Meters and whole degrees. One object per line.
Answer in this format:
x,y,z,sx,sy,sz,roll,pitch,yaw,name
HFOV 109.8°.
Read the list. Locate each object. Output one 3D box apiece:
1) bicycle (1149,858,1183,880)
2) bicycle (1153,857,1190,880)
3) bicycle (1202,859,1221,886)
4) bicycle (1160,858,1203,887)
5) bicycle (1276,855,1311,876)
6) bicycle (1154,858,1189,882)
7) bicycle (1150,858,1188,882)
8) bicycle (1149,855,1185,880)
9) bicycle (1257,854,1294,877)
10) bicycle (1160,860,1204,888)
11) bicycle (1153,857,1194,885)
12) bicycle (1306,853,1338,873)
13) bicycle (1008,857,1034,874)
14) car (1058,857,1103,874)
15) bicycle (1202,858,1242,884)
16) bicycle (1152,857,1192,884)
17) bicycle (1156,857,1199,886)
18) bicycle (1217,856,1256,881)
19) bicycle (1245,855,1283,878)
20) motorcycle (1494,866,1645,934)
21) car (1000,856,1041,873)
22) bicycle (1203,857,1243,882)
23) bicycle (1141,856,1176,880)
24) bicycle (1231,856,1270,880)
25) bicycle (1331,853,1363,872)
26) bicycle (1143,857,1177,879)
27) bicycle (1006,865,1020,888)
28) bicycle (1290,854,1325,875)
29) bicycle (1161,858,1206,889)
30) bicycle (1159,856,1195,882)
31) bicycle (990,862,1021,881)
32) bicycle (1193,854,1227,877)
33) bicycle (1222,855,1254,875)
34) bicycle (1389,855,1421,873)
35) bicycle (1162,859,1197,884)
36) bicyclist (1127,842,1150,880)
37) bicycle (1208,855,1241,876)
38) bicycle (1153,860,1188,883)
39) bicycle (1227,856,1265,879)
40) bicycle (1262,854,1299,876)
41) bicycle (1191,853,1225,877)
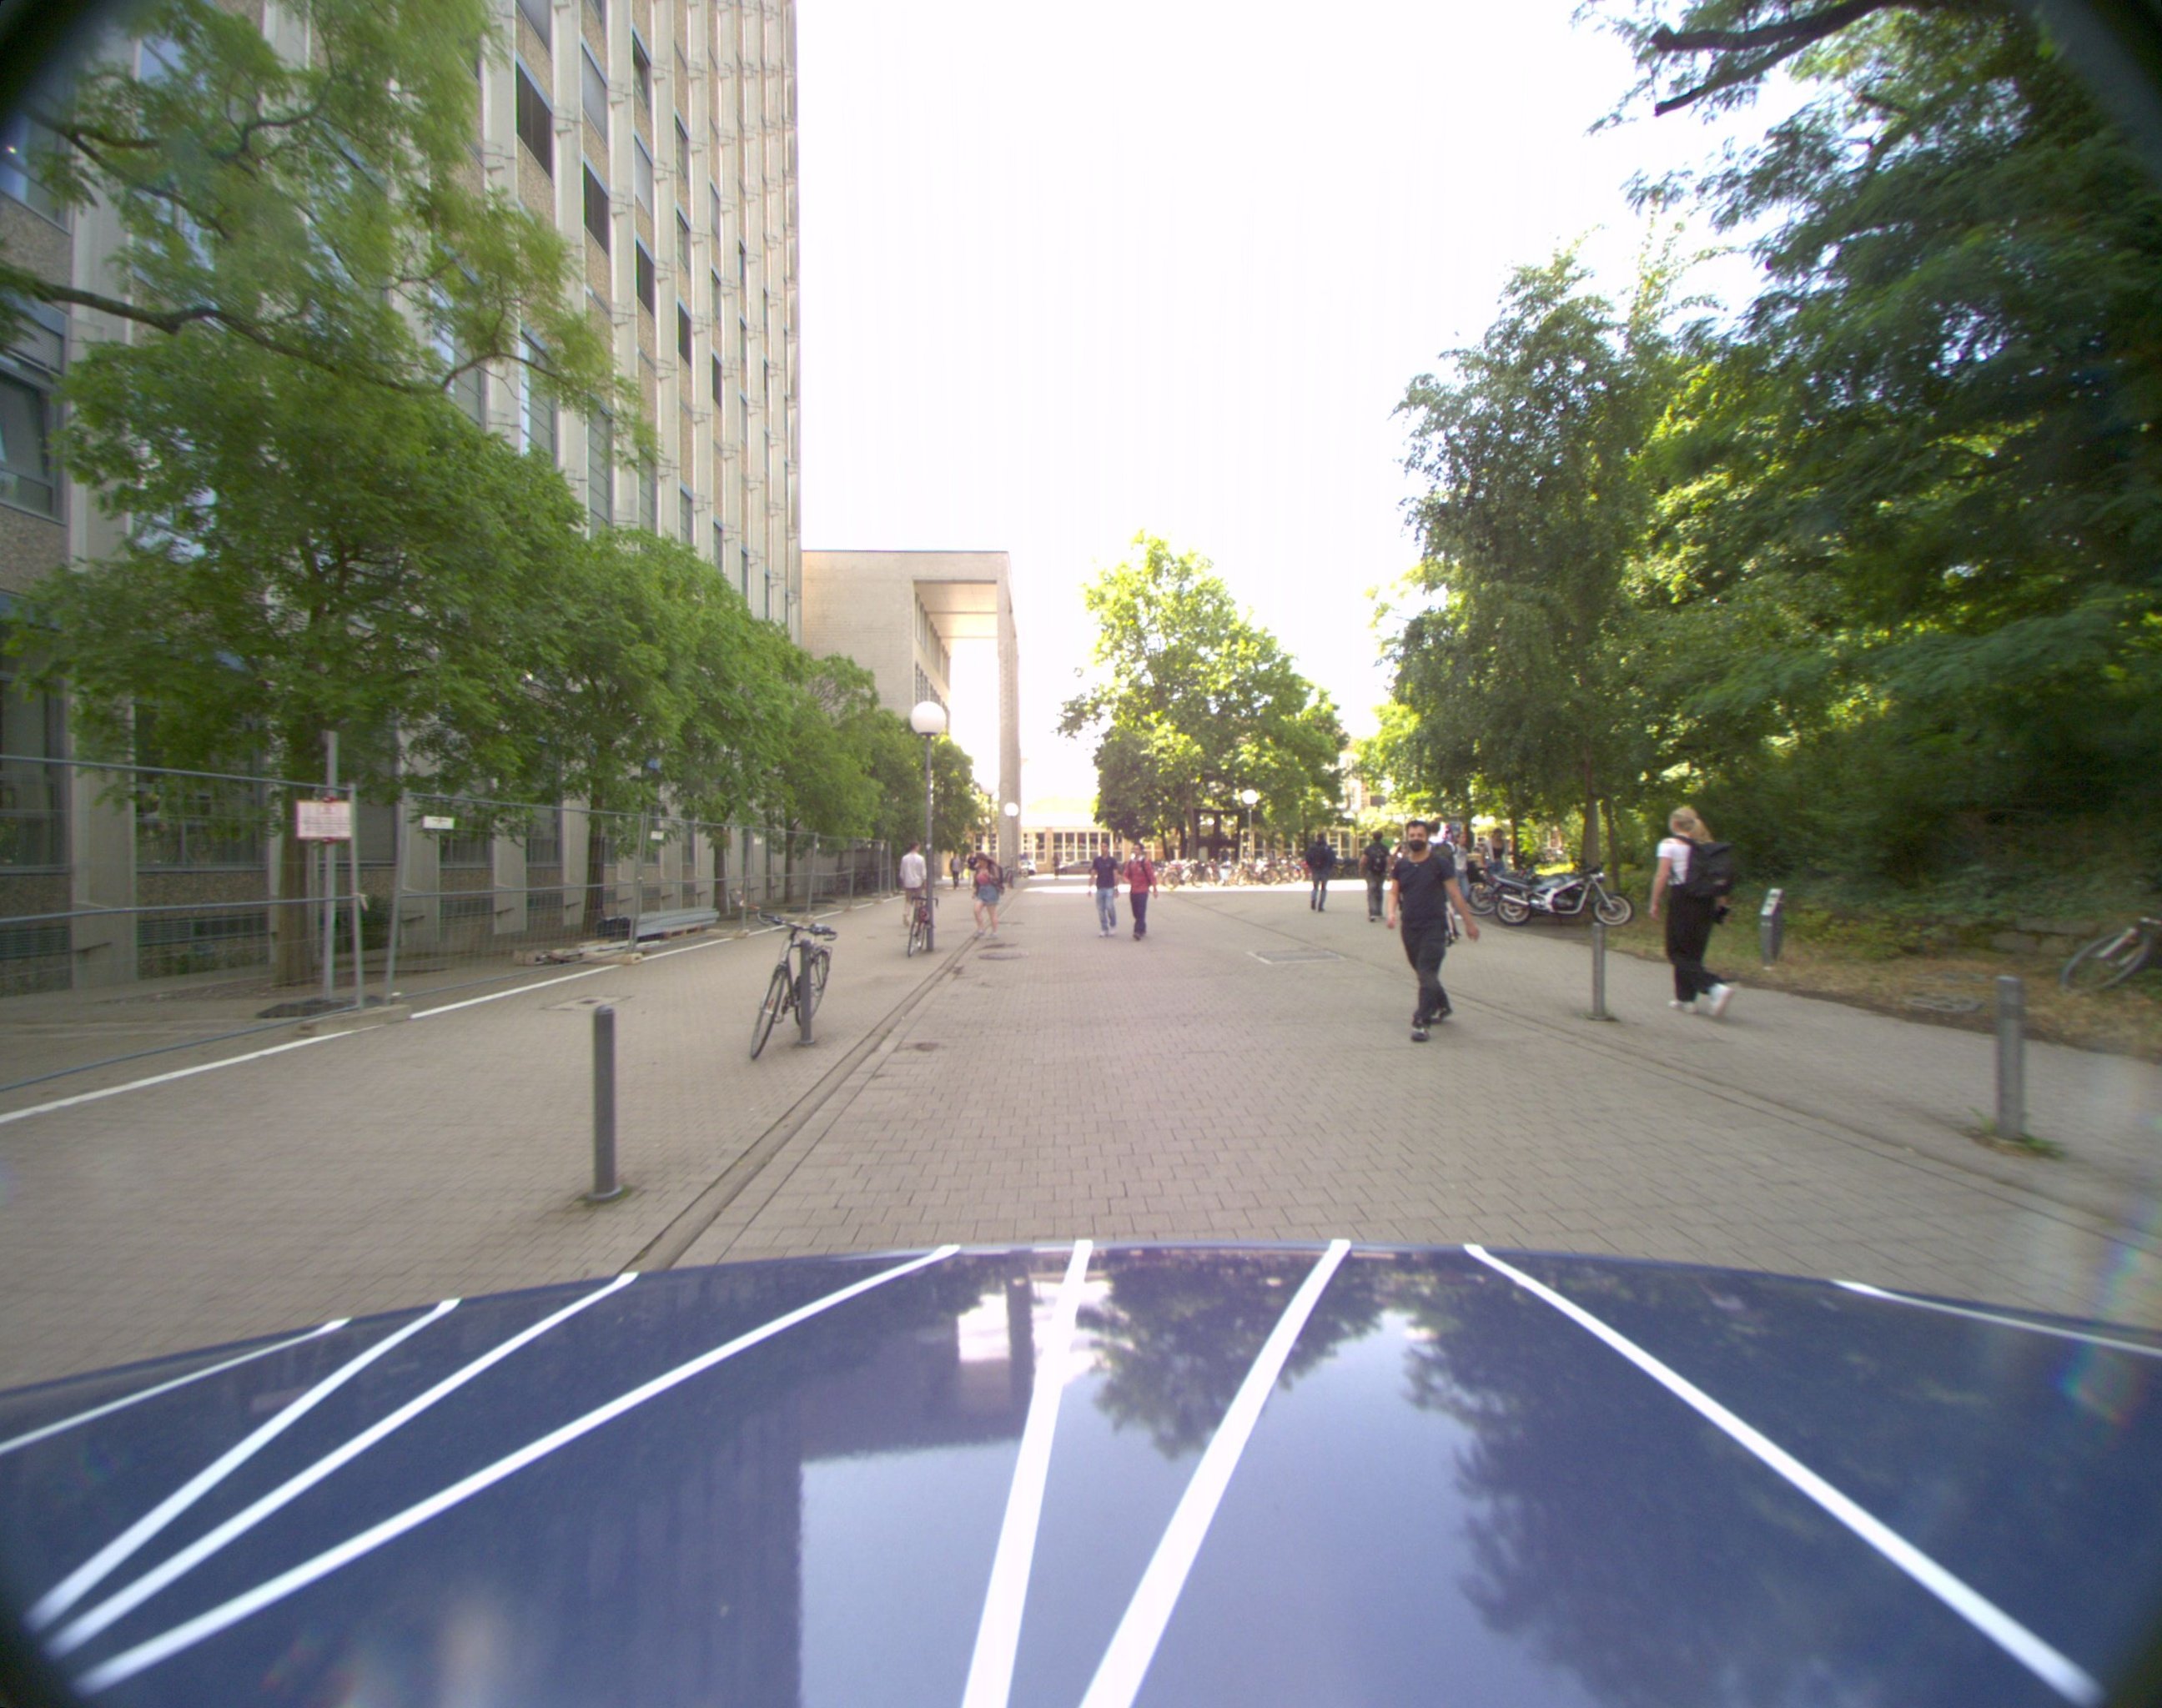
4.434,0.765,39.765,1.700,1.101,0.473,-2,1,-13,bicycle
4.565,0.739,38.338,1.700,1.101,0.565,-2,1,-13,bicycle
5.453,0.766,31.855,0.508,1.077,1.699,-2,1,1,bicycle
4.214,0.762,31.896,1.699,1.161,0.474,-2,1,-8,bicycle
10.941,0.602,39.124,1.695,1.077,0.475,-1,1,43,bicycle
4.346,0.772,36.518,1.702,1.101,0.473,-2,1,-29,bicycle
4.321,0.759,37.249,1.700,1.101,0.582,-2,1,-13,bicycle
4.292,0.645,37.775,1.700,1.181,0.473,-2,1,-13,bicycle
9.588,0.579,37.457,1.695,1.077,0.475,-1,1,34,bicycle
4.147,0.828,31.133,1.699,1.085,0.474,-2,1,-8,bicycle
4.080,0.757,33.454,1.700,1.161,0.473,-2,1,-15,bicycle
13.291,0.496,41.970,0.475,1.077,1.695,-2,1,-40,bicycle
-4.378,0.842,55.621,1.886,1.157,0.604,1,-1,-7,bicycle
-0.073,1.094,72.233,4.209,1.468,1.652,-1,2,-2,car
6.113,0.737,32.993,1.697,1.077,0.474,-1,1,10,bicycle
4.089,0.727,33.997,1.701,1.161,0.473,-2,1,-19,bicycle
4.161,0.750,32.746,1.778,1.161,0.474,-1,1,11,bicycle
7.105,0.670,34.763,1.695,1.077,0.475,-1,1,33,bicycle
8.792,0.612,36.580,1.695,1.077,0.475,-1,1,34,bicycle
8.048,0.751,12.586,2.020,1.041,0.475,-3,0,41,motorcycle
-5.705,0.998,71.858,3.777,1.468,1.652,-1,2,-2,car
6.366,0.688,34.074,1.697,1.077,0.474,-1,1,11,bicycle
4.004,0.716,39.149,1.700,1.192,0.536,-2,1,-10,bicycle
7.882,0.650,35.362,1.695,1.077,0.475,-1,1,29,bicycle
15.162,0.495,43.290,0.475,1.077,1.695,-2,1,-40,bicycle
4.150,0.750,40.128,1.700,1.101,0.473,-2,1,-14,bicycle
-3.257,1.059,36.534,0.538,1.033,1.858,0,0,-2,bicycle
11.901,0.545,39.912,1.695,1.077,0.475,-1,1,43,bicycle
4.137,0.778,30.663,1.700,1.152,0.473,-2,1,-11,bicycle
4.573,0.720,36.112,1.702,1.151,0.473,-2,1,-29,bicycle
-4.292,0.984,43.185,1.744,1.033,0.449,0,-1,-7,bicycle
6.711,0.584,39.540,1.700,1.101,0.502,-2,1,-13,bicycle
9.142,0.652,44.280,1.695,1.101,0.504,-1,1,34,bicycle
20.427,0.642,47.957,0.475,1.077,1.854,-2,1,-40,bicycle
4.541,0.784,34.908,1.702,1.055,0.473,-2,1,-37,bicycle
2.371,0.299,31.468,0.597,1.559,0.719,-2,1,-41,bicyclist
8.131,0.653,43.072,1.695,1.193,0.577,-1,1,34,bicycle
4.155,0.792,35.247,1.702,1.013,0.473,-2,1,-37,bicycle
7.808,0.642,35.972,1.695,1.077,0.475,-1,1,29,bicycle
10.084,0.553,38.456,1.695,1.077,0.475,-1,1,34,bicycle
6.779,0.587,40.601,1.700,1.213,0.502,-2,1,-13,bicycle
